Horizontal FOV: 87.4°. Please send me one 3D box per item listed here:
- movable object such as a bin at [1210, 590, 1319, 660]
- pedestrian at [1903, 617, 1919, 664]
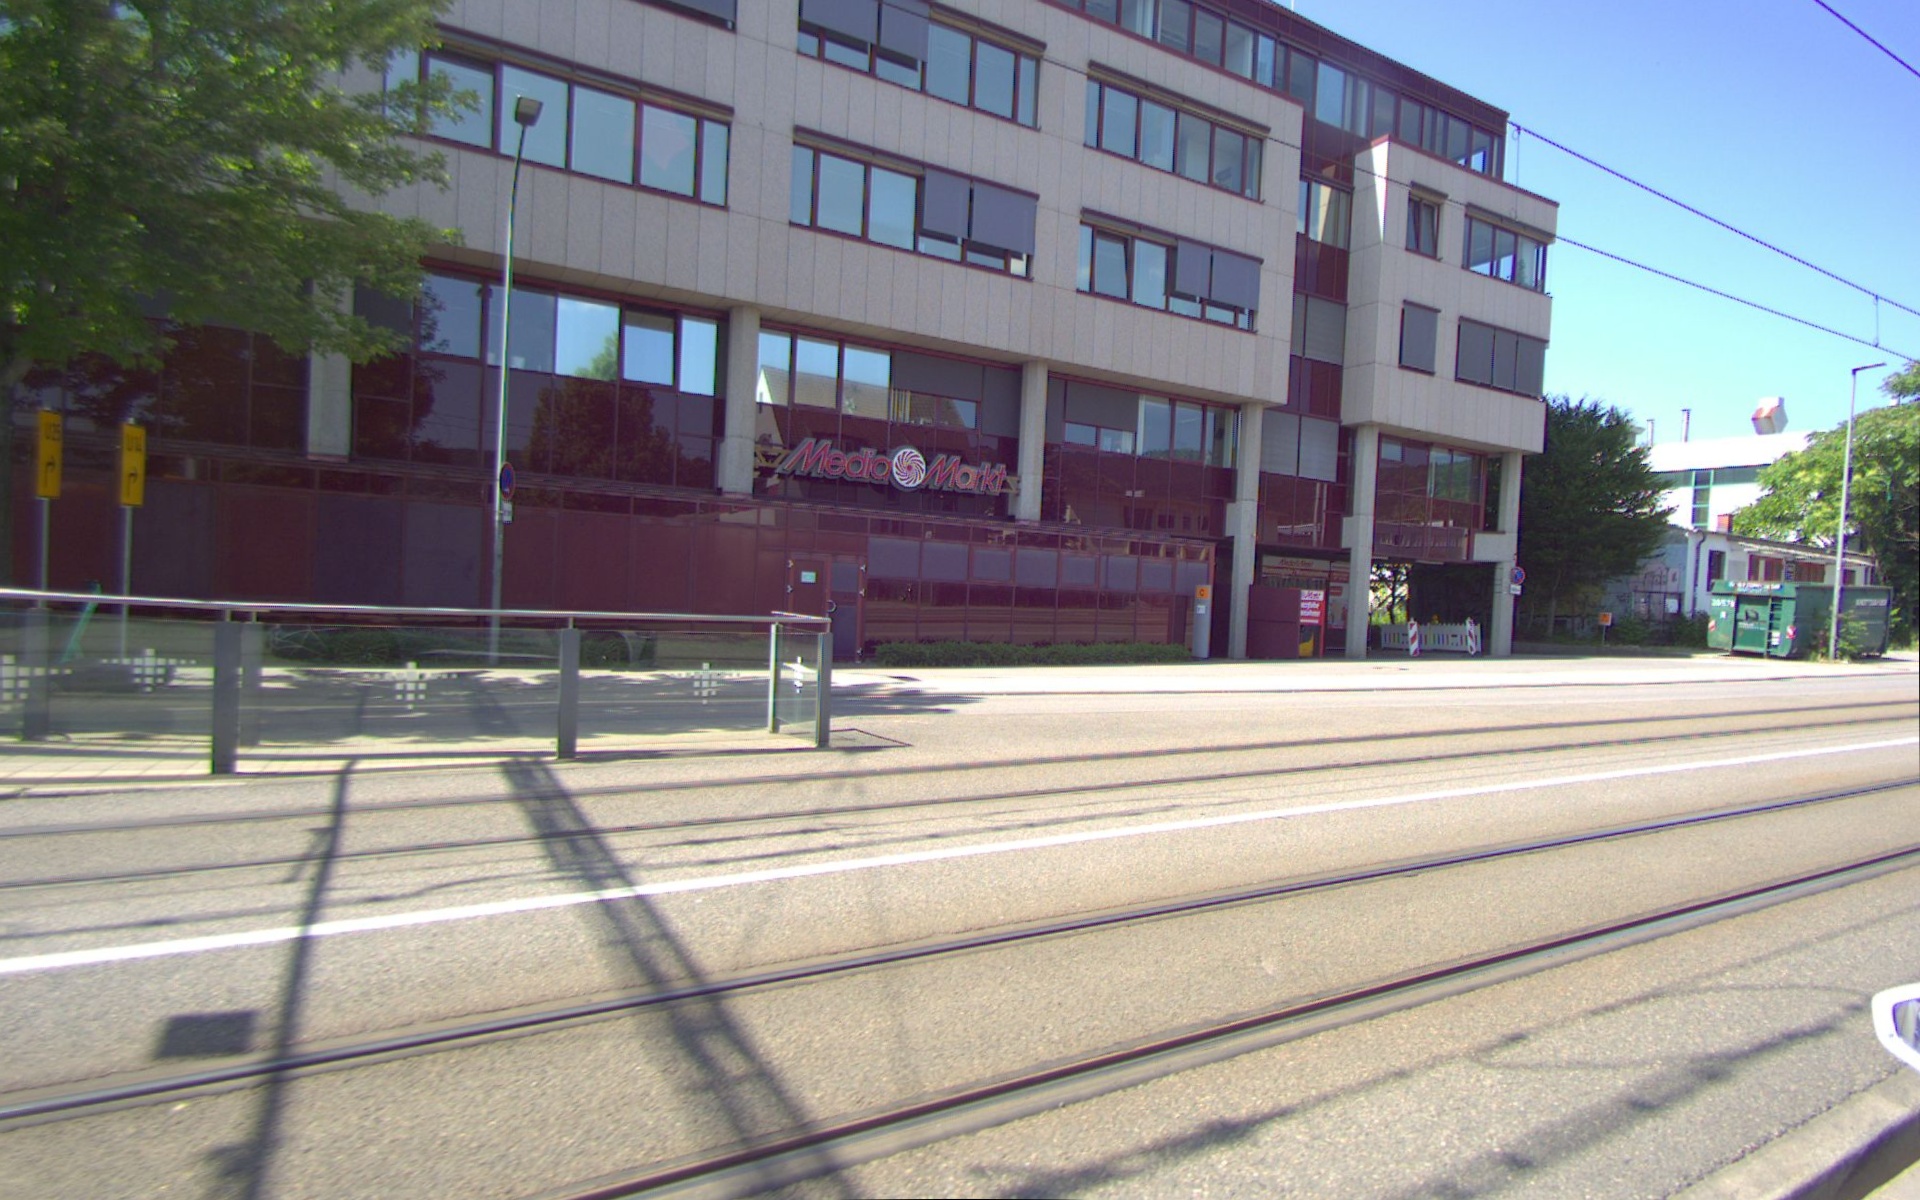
[{"bbox_3d":[9.518,0.770,31.340,3.061,2.040,1.974,2,0,-43],"label":"movable object such as a bin"},{"bbox_3d":[32.918,1.394,34.278,0.828,1.558,0.830,1,1,-30],"label":"pedestrian"}]
